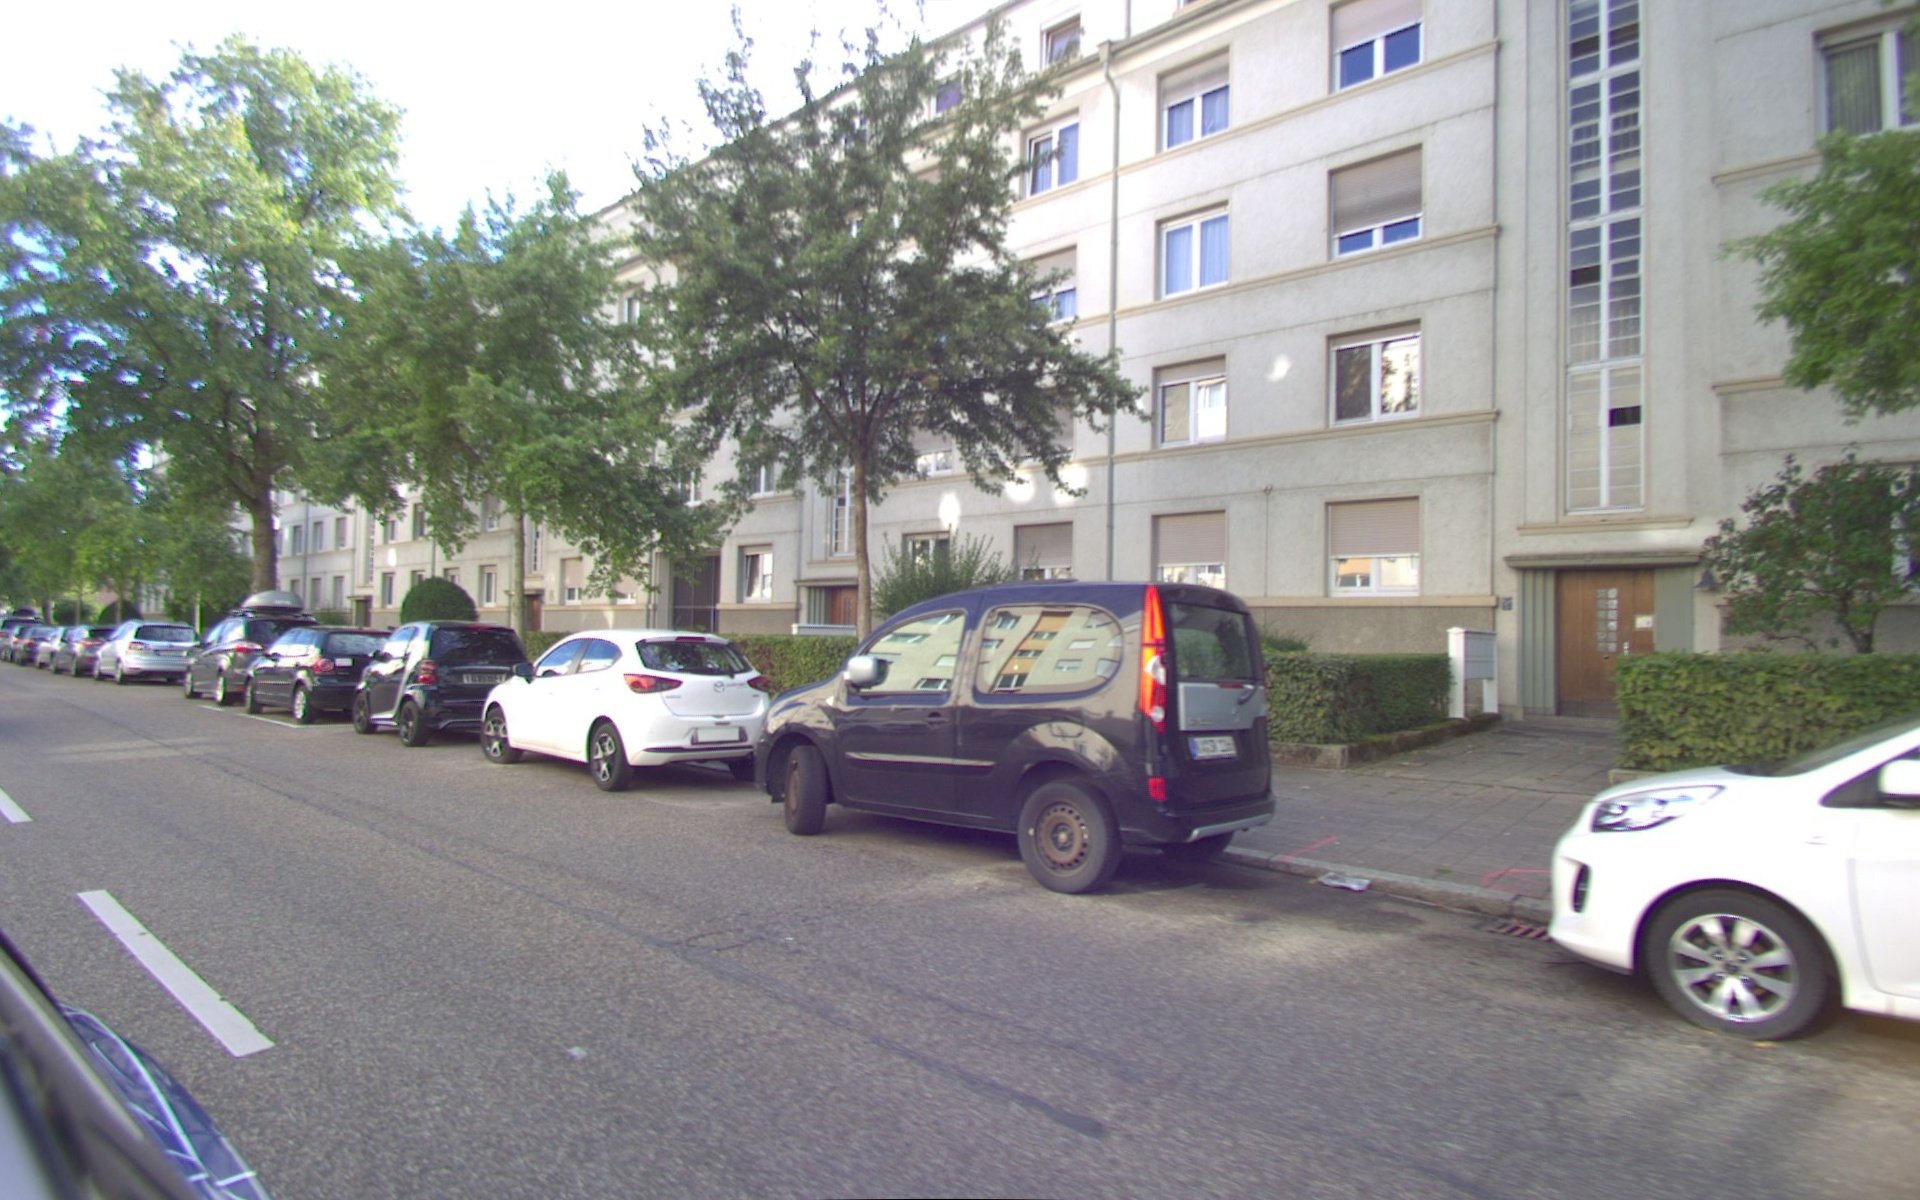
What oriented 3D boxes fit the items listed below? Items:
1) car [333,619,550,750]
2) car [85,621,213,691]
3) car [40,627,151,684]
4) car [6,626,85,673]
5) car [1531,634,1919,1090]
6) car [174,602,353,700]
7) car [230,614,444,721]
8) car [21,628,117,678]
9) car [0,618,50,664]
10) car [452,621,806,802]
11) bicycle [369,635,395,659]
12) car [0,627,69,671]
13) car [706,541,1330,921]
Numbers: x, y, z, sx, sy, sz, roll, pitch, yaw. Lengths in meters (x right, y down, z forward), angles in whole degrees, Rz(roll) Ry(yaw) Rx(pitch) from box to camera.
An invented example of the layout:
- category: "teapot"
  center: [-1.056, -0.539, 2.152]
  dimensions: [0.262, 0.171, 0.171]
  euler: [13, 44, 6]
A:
- category: "car"
  center: [-6.931, 1.084, 13.442]
  dimensions: [3.016, 1.532, 1.536]
  euler: [-2, -6, 43]
- category: "car"
  center: [-20.719, 1.412, 25.806]
  dimensions: [3.991, 1.632, 1.721]
  euler: [-1, -5, 40]
- category: "car"
  center: [-24.653, 1.557, 28.817]
  dimensions: [4.009, 1.479, 1.598]
  euler: [-1, -6, 39]
- category: "car"
  center: [-32.432, 1.723, 35.858]
  dimensions: [4.453, 1.492, 1.666]
  euler: [-2, -7, 44]
- category: "car"
  center: [4.348, 0.927, 3.548]
  dimensions: [3.802, 1.505, 1.780]
  euler: [-2, -6, 42]
- category: "car"
  center: [-13.568, 0.989, 19.603]
  dimensions: [4.481, 1.681, 1.780]
  euler: [-2, -6, 42]
- category: "car"
  center: [-9.950, 1.045, 16.067]
  dimensions: [3.844, 1.498, 1.683]
  euler: [-1, -6, 40]
- category: "car"
  center: [-28.152, 1.650, 31.931]
  dimensions: [3.960, 1.429, 1.584]
  euler: [-1, -6, 40]
- category: "car"
  center: [-40.266, 1.715, 42.813]
  dimensions: [4.967, 1.807, 1.858]
  euler: [-1, -5, 40]
- category: "car"
  center: [-3.611, 1.040, 10.576]
  dimensions: [4.334, 1.504, 1.675]
  euler: [-2, -5, 45]
- category: "bicycle"
  center: [-26.751, 2.164, 46.797]
  dimensions: [1.540, 1.064, 0.536]
  euler: [-2, -3, 41]
- category: "car"
  center: [-35.918, 1.875, 39.096]
  dimensions: [4.118, 1.492, 1.667]
  euler: [-1, -7, 42]
- category: "car"
  center: [0.202, 0.751, 7.115]
  dimensions: [4.189, 1.897, 1.705]
  euler: [-2, -5, 41]
